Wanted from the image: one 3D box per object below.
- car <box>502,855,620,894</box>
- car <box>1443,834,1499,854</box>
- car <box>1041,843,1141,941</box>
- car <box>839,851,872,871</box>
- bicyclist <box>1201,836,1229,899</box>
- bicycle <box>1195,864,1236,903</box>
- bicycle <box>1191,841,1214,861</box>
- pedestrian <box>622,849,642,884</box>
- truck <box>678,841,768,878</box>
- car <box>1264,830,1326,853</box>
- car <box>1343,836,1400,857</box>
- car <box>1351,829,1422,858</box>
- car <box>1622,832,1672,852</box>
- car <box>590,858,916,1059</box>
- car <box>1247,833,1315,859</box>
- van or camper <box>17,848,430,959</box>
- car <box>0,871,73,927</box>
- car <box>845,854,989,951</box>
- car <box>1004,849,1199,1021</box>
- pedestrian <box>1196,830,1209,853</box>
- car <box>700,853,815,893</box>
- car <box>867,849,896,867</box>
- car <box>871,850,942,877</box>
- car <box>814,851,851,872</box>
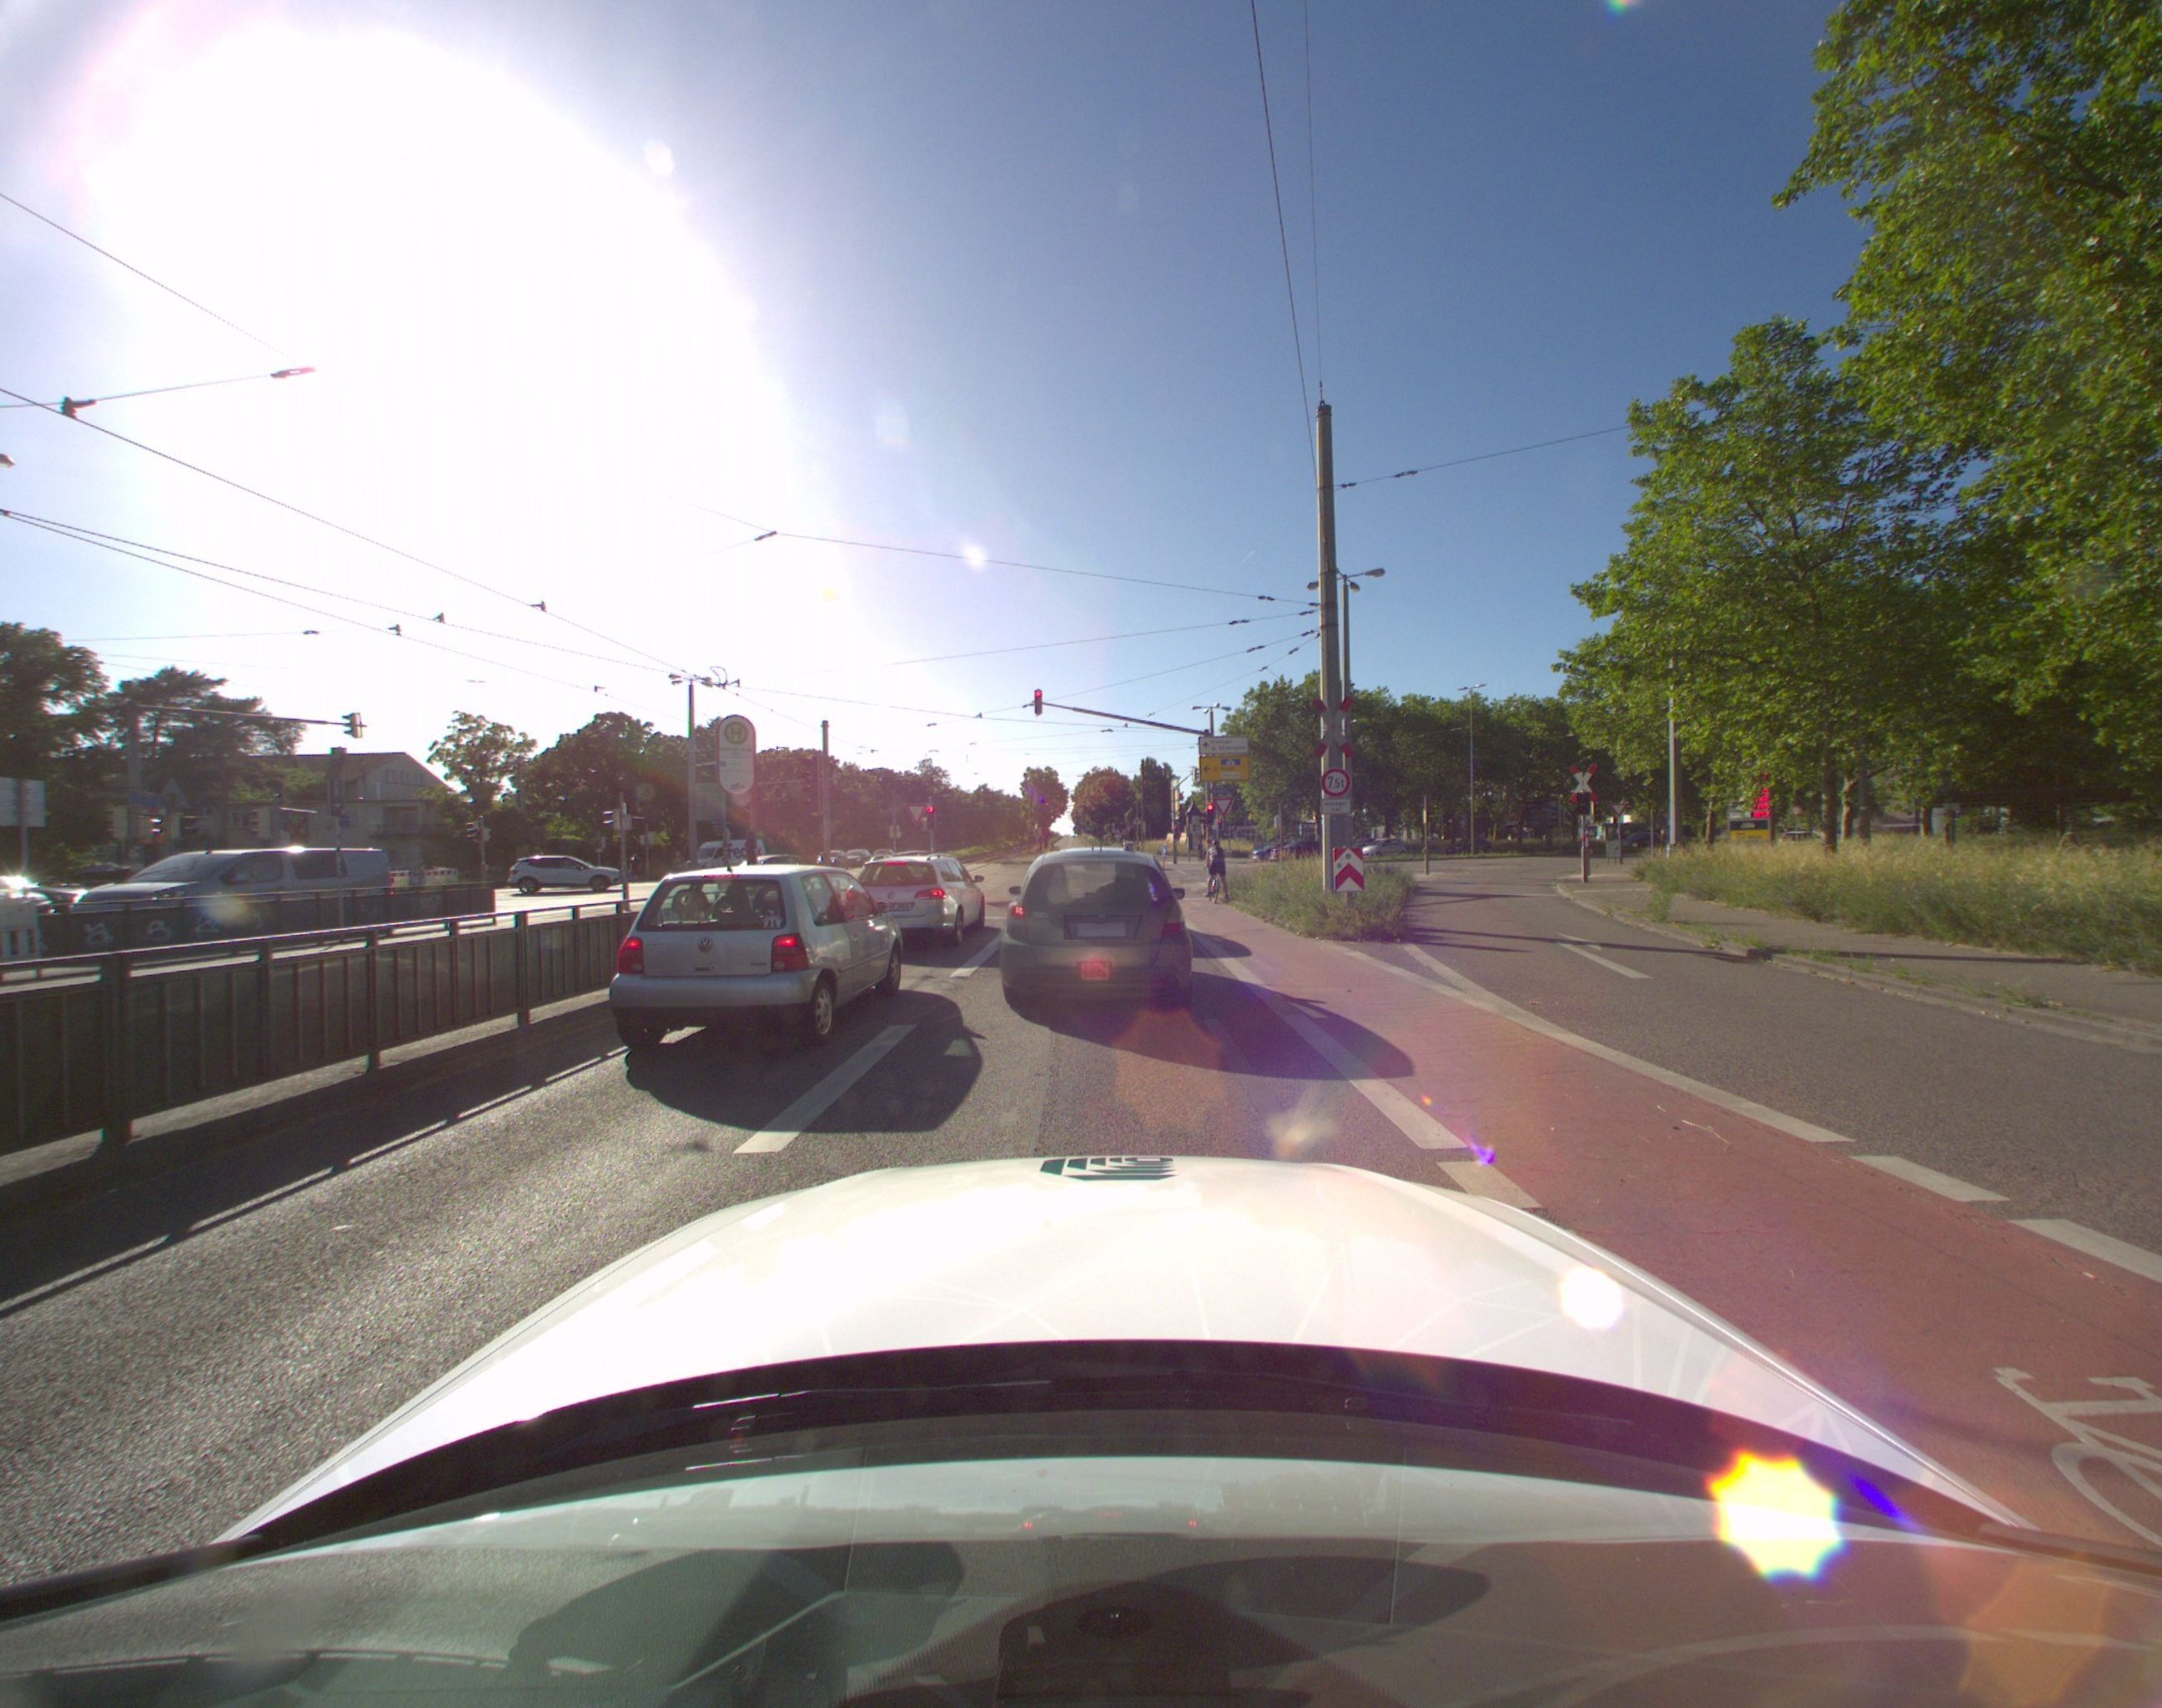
[{"bbox_3d":[-21.996,0.848,34.634,4.008,1.478,1.701,-2,0,-27],"label":"car"},{"bbox_3d":[33.172,-0.877,69.290,4.526,1.574,1.681,-2,0,-21],"label":"car"},{"bbox_3d":[0.214,0.614,15.499,1.605,1.562,4.289,-1,0,1],"label":"car"},{"bbox_3d":[-18.785,0.533,67.891,1.829,1.548,4.277,-2,0,-5],"label":"car"},{"bbox_3d":[3.708,0.367,22.588,0.663,1.716,0.948,0,0,1],"label":"bicyclist"},{"bbox_3d":[3.709,0.774,22.667,0.719,0.989,2.876,0,0,1],"label":"bicycle"},{"bbox_3d":[10.076,-0.277,67.274,0.811,1.574,3.234,-1,0,28],"label":"bicycle"},{"bbox_3d":[-26.426,0.719,47.953,0.748,2.013,0.788,-2,0,-11],"label":"pedestrian"},{"bbox_3d":[-26.137,0.341,59.851,1.978,2.565,6.853,-1,0,17],"label":"truck"},{"bbox_3d":[15.059,-0.885,57.301,4.002,1.531,1.594,-2,0,-21],"label":"car"},{"bbox_3d":[23.054,-0.572,64.606,3.999,1.578,1.868,0,0,-19],"label":"car"},{"bbox_3d":[22.877,-0.790,61.054,4.906,2.013,1.986,-2,0,-21],"label":"car"},{"bbox_3d":[47.224,-0.982,67.963,3.989,1.544,1.580,-2,0,-24],"label":"car"},{"bbox_3d":[-2.769,0.782,7.698,1.613,1.417,3.352,-2,0,1],"label":"car"},{"bbox_3d":[15.080,-0.594,61.404,4.705,1.879,1.986,0,0,-21],"label":"car"},{"bbox_3d":[-17.045,0.826,16.903,1.985,1.828,5.992,-2,0,3],"label":"van or camper"},{"bbox_3d":[-32.388,1.346,22.836,4.844,1.497,1.771,-2,0,-25],"label":"car"},{"bbox_3d":[-2.714,0.736,14.355,1.613,1.457,4.086,-1,0,1],"label":"car"},{"bbox_3d":[0.170,0.689,8.859,1.663,1.462,3.585,-1,0,-1],"label":"car"},{"bbox_3d":[10.011,-1.035,67.182,0.781,1.836,0.860,-1,0,29],"label":"pedestrian"},{"bbox_3d":[-12.653,0.719,32.100,1.589,1.402,4.042,-1,0,29],"label":"car"},{"bbox_3d":[-18.641,0.355,76.147,1.991,1.604,4.746,0,1,-6],"label":"car"},{"bbox_3d":[-9.456,0.502,44.417,1.508,1.378,3.700,-2,0,36],"label":"car"},{"bbox_3d":[-18.894,0.548,62.098,1.829,1.548,3.993,-2,0,-5],"label":"car"}]
